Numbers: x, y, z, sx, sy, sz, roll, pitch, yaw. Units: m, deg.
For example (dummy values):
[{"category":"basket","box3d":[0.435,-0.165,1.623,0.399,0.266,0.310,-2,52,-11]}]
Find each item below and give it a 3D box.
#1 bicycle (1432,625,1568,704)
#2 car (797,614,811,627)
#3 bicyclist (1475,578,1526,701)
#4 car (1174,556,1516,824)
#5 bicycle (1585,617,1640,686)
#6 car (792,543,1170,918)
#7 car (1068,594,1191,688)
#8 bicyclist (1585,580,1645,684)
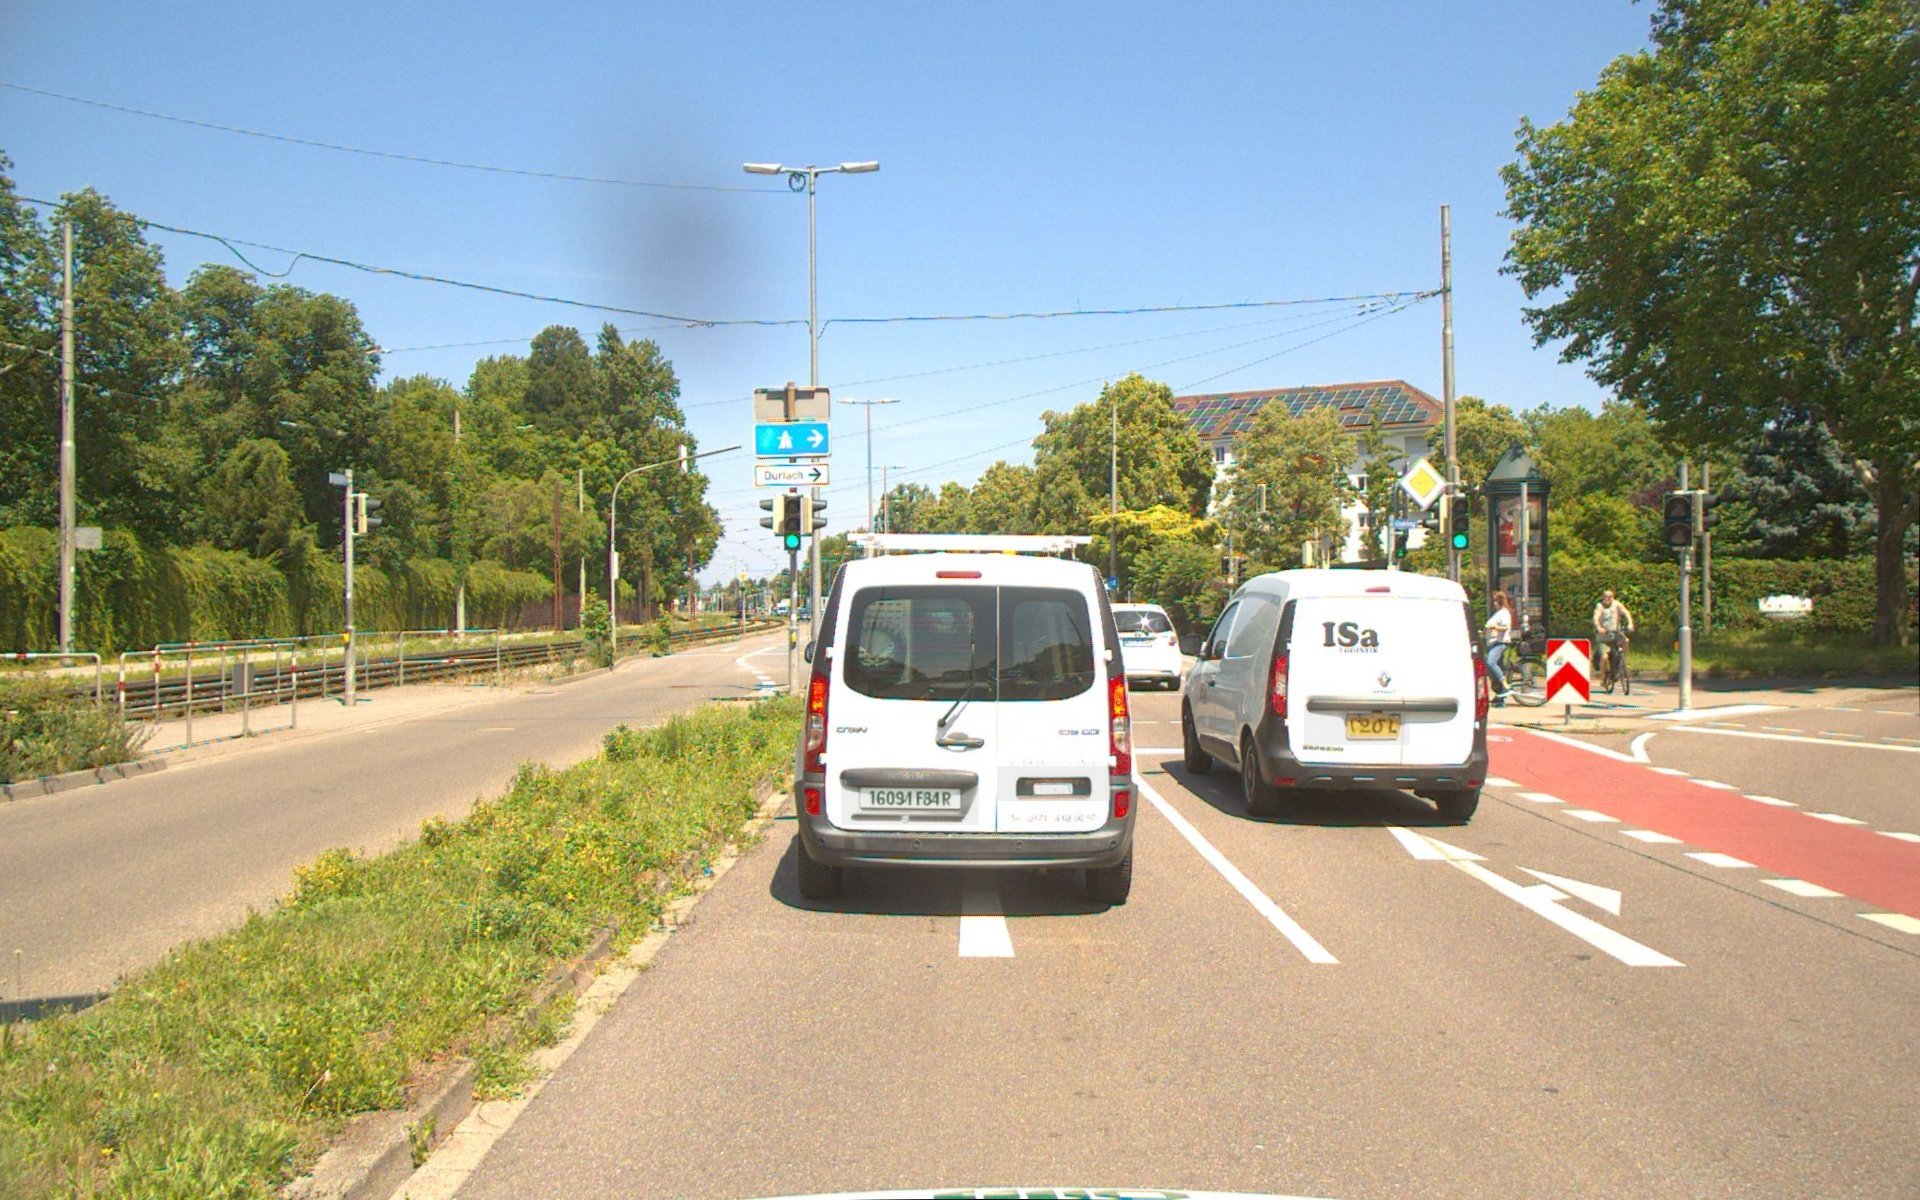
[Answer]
[{"category":"bicycle","box3d":[8.149,0.967,25.025,1.827,1.144,0.895,0,-1,7]},{"category":"car","box3d":[-20.135,2.639,213.206,1.665,1.539,4.059,-1,0,-7]},{"category":"bicyclist","box3d":[8.168,0.590,25.004,0.564,1.819,0.768,1,-1,7]},{"category":"car","box3d":[2.923,0.634,13.432,1.693,1.820,4.062,1,0,-2]},{"category":"bicycle","box3d":[11.562,0.895,29.344,0.874,1.179,1.956,0,-1,21]},{"category":"car","box3d":[0.069,0.625,10.038,1.784,1.770,4.395,0,0,-1]},{"category":"car","box3d":[3.069,0.705,30.664,1.798,1.596,3.999,1,0,-1]},{"category":"bicyclist","box3d":[11.583,0.561,29.278,0.953,1.819,0.726,0,-1,21]}]
